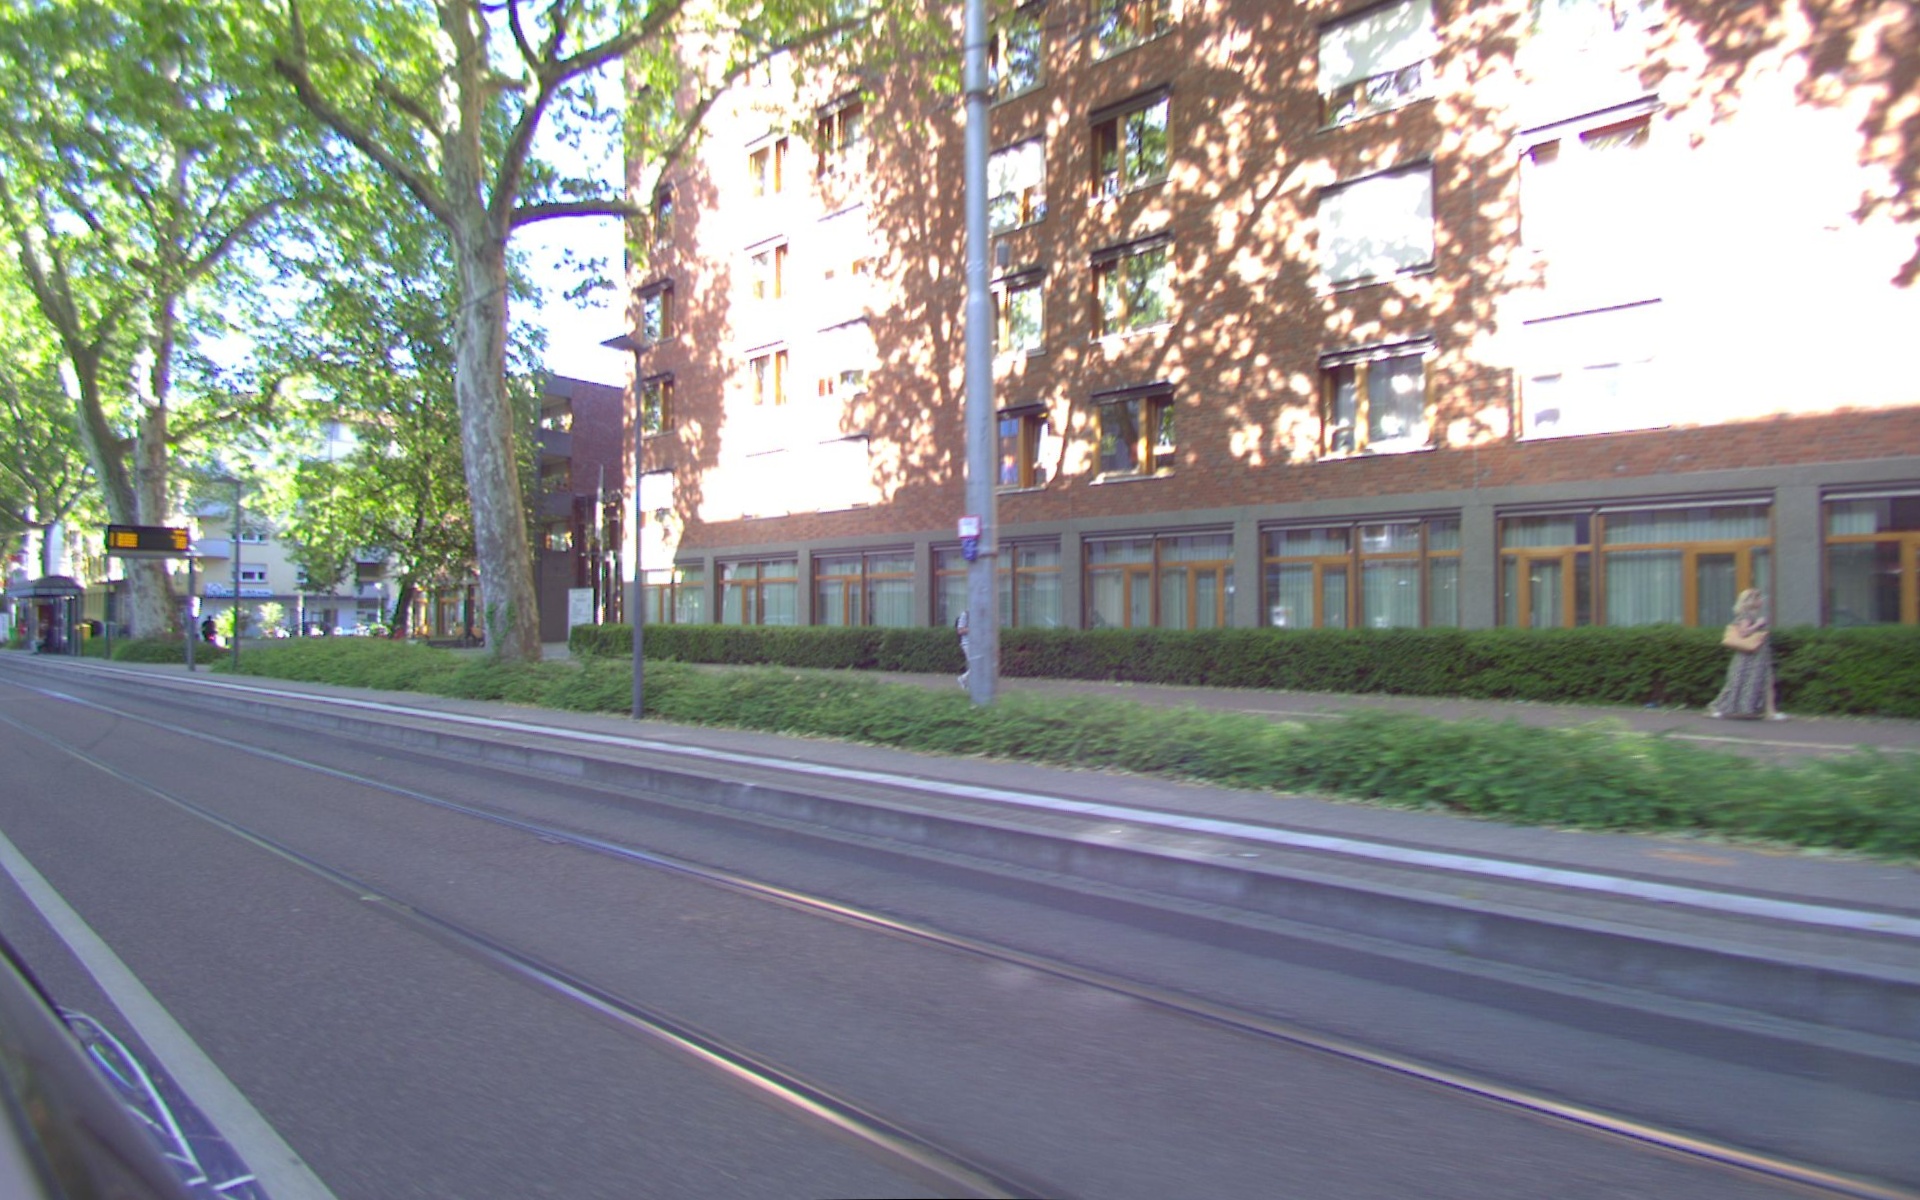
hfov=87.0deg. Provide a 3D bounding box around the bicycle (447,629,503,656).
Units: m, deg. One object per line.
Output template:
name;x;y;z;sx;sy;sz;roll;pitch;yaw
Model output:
bicycle;-20.841;1.805;43.527;2.012;1.102;0.821;-1;0;4

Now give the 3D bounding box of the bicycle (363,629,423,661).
bicycle;-23.078;1.820;41.190;2.067;1.198;0.883;-1;0;-33

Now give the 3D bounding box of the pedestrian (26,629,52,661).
pedestrian;-35.748;1.743;39.295;0.473;1.213;0.699;-1;-1;42

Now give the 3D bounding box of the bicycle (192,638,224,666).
bicycle;-31.811;2.171;42.813;2.039;1.102;0.738;-1;0;44

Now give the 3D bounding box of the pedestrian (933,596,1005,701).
pedestrian;0.157;0.818;17.615;0.971;1.757;0.756;-1;-1;41

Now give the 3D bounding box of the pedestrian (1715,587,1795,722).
pedestrian;9.678;0.640;12.325;0.715;1.585;0.657;-1;-1;41

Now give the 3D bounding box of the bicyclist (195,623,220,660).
bicyclist;-31.805;1.734;42.779;0.892;1.526;0.725;-1;-1;44
